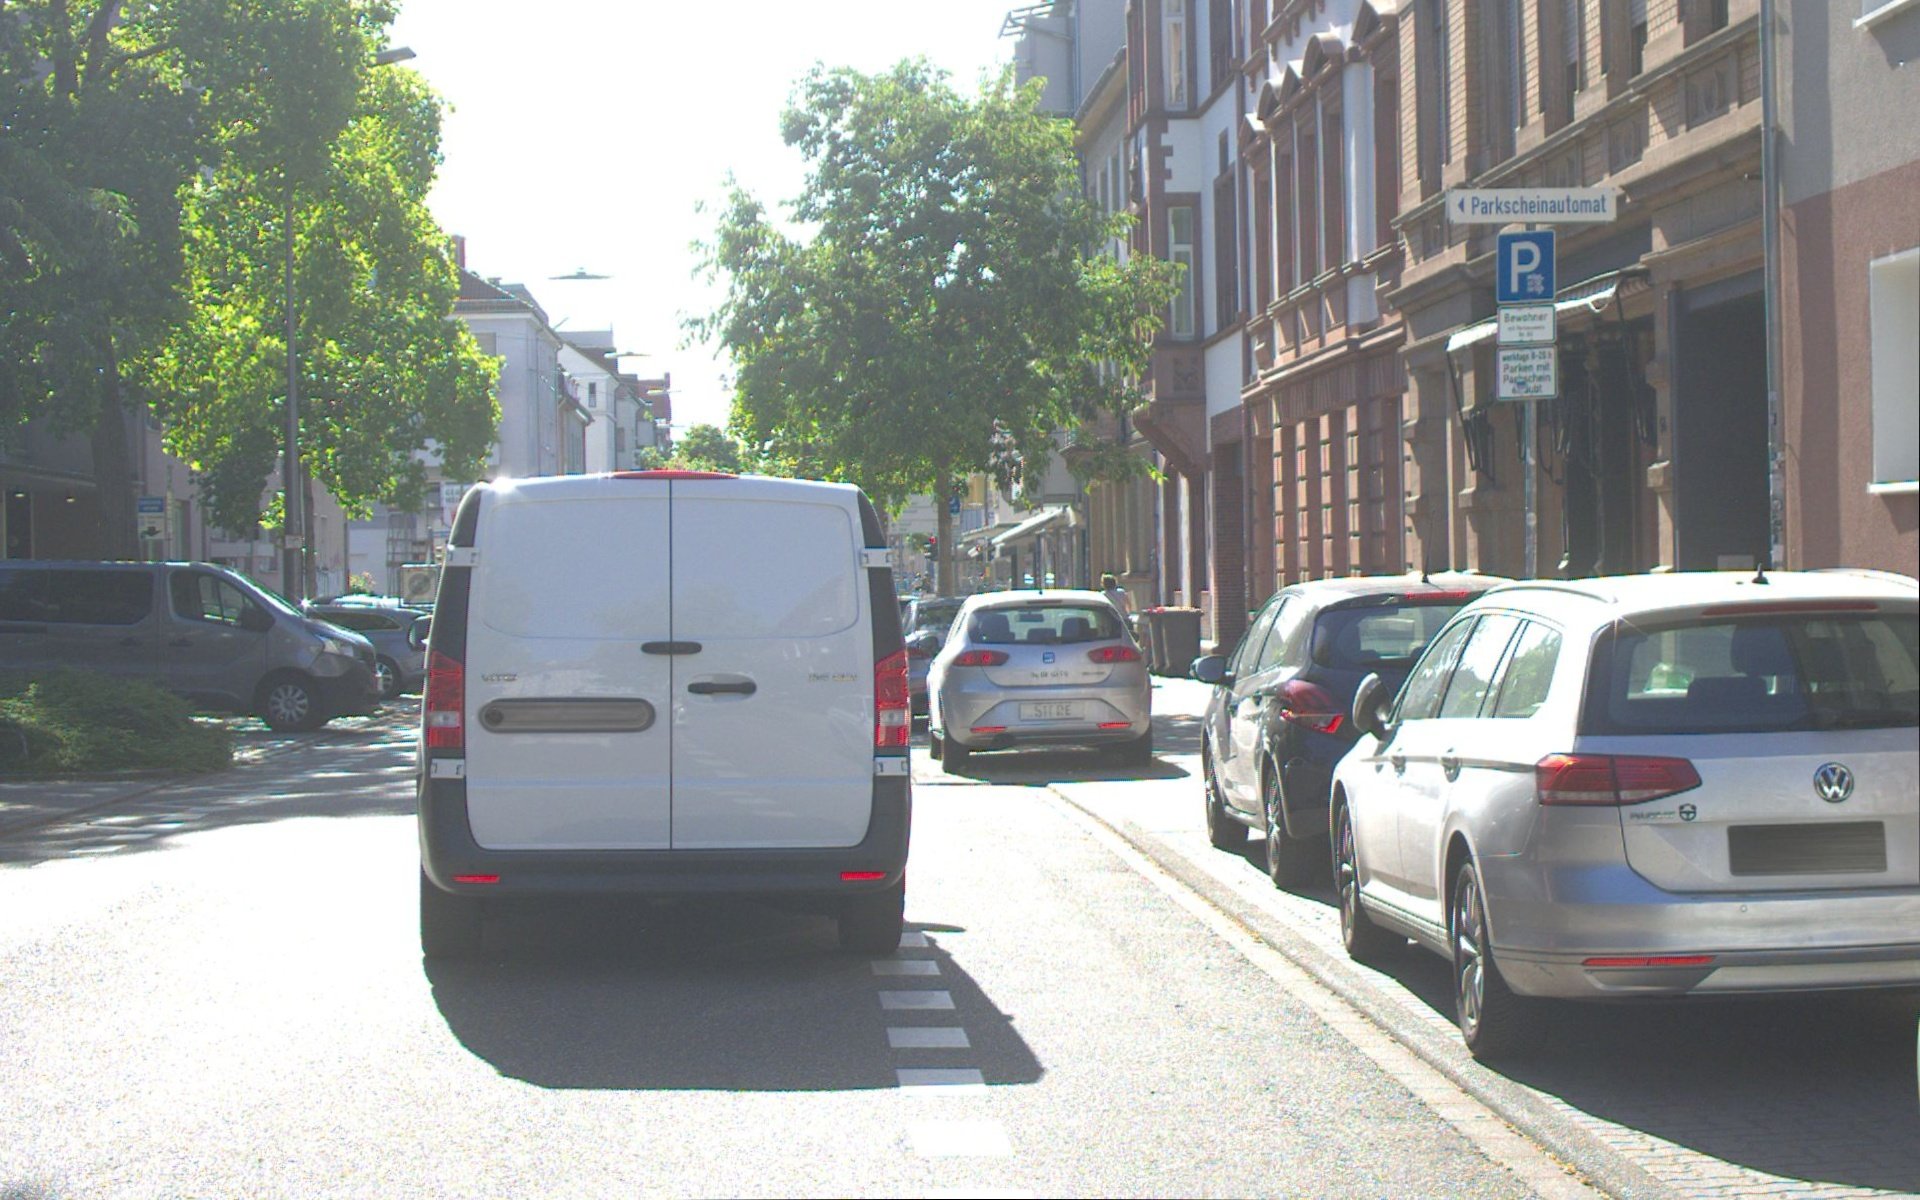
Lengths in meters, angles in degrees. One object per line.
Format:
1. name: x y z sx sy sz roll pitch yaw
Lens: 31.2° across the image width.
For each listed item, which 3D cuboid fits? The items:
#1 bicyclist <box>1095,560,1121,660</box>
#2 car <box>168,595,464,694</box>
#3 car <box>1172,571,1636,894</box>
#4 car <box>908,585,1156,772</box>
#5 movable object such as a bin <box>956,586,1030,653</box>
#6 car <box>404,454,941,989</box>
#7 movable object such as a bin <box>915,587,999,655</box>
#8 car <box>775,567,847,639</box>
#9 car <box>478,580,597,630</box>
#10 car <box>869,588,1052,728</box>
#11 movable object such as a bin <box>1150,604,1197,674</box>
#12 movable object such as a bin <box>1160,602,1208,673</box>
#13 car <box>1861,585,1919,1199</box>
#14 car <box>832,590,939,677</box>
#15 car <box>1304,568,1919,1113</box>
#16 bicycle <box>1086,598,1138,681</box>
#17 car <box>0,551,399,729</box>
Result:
1. bicyclist: 2.175 0.148 50.618 0.361 1.472 0.530 0 0 1
2. car: -10.037 0.685 53.793 4.305 1.455 1.762 1 0 -1
3. car: 2.182 0.607 17.849 1.709 1.475 3.711 -1 0 -3
4. car: 0.545 0.612 29.256 1.738 1.446 4.001 -1 0 -4
5. movable object such as a bin: 0.682 0.397 70.644 1.040 1.343 1.106 -1 0 36
6. car: -1.389 0.416 14.809 1.920 1.907 4.889 0 0 -9
7. movable object such as a bin: -0.060 0.421 69.412 1.108 1.343 1.268 -1 0 45
8. car: -4.153 0.074 95.433 1.815 1.915 4.645 -1 0 -4
9. car: -14.357 0.159 116.949 3.986 1.634 2.000 -1 0 -6
10. car: -0.049 0.606 38.457 1.738 1.446 4.308 -1 0 -4
11. movable object such as a bin: 3.331 0.602 53.626 0.638 1.065 0.632 -1 0 -4
12. movable object such as a bin: 3.417 0.569 52.508 0.638 1.065 0.639 -1 0 -4
13. car: 2.995 0.686 5.645 1.731 1.481 3.795 -2 0 -4
14. car: -1.359 0.570 61.456 1.635 1.471 3.581 -1 0 -5
15. car: 2.365 0.649 11.776 1.785 1.455 4.517 -2 0 -1
16. bicycle: 2.243 0.581 50.900 0.536 1.145 2.124 -6 -1 -1
17. car: -9.261 0.444 39.712 5.291 1.967 2.016 1 0 -3
